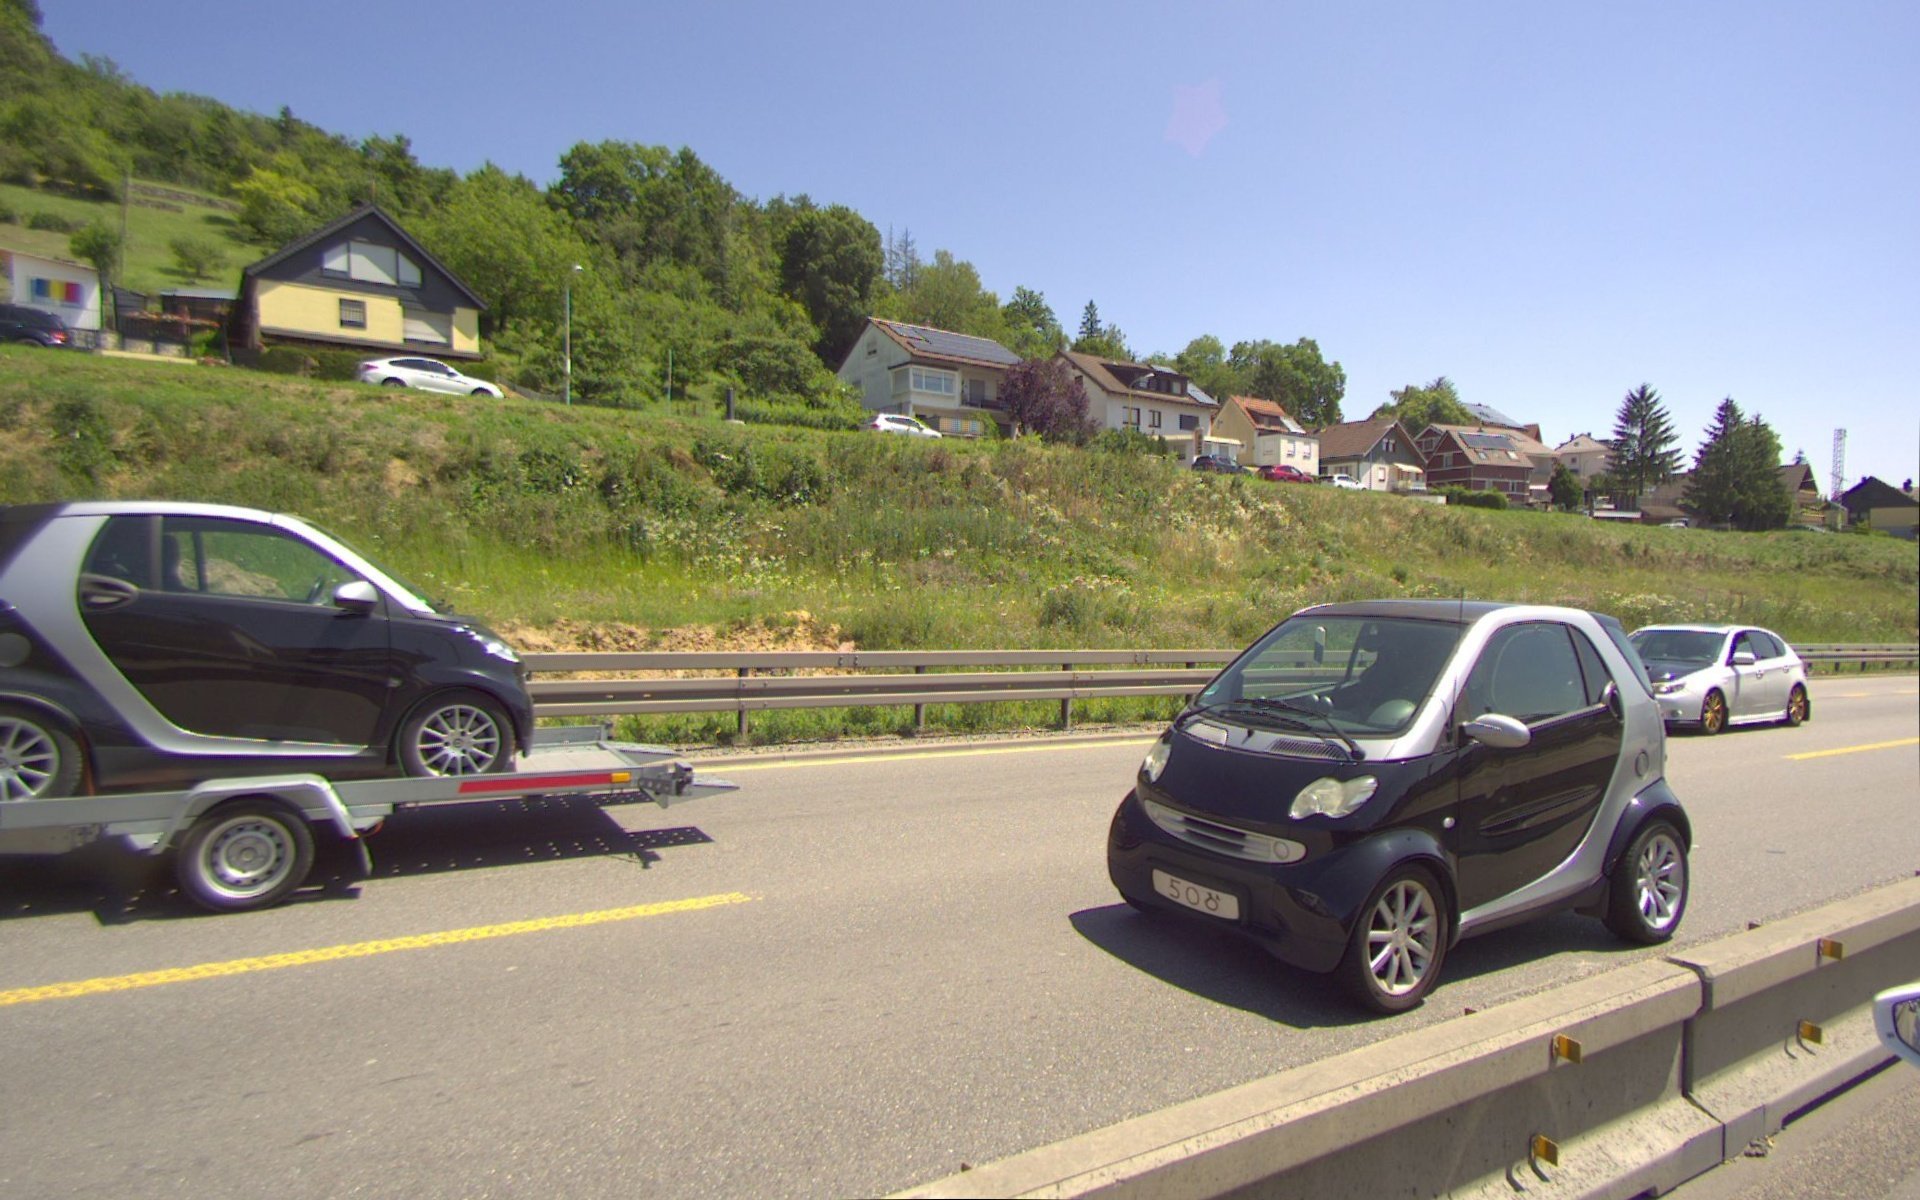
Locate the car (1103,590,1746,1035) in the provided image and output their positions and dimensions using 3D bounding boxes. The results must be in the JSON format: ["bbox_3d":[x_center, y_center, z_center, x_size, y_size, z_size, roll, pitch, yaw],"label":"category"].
[{"bbox_3d":[2.241,0.754,4.794,2.772,1.525,1.476,1,0,-31],"label":"car"}]

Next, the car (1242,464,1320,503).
[{"bbox_3d":[20.824,-7.503,65.095,4.752,1.817,2.333,3,-1,-34],"label":"car"}]

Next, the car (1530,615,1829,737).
[{"bbox_3d":[10.299,0.987,14.298,4.502,1.450,1.800,1,0,-31],"label":"car"}]

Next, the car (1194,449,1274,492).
[{"bbox_3d":[16.496,-7.734,60.396,4.720,1.817,2.162,3,-1,-37],"label":"car"}]

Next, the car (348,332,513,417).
[{"bbox_3d":[-18.858,-7.966,35.889,4.966,1.817,1.979,3,-1,-37],"label":"car"}]

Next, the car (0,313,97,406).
[{"bbox_3d":[-28.305,-7.142,28.954,4.925,2.035,2.057,3,-1,-36],"label":"car"}]

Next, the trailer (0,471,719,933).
[{"bbox_3d":[-4.086,0.428,5.317,5.081,1.919,2.091,1,0,-31],"label":"trailer"}]

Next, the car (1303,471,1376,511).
[{"bbox_3d":[25.941,-7.429,68.664,4.768,2.068,2.334,3,-1,-34],"label":"car"}]

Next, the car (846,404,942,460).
[{"bbox_3d":[-3.046,-7.709,46.470,3.964,1.817,1.979,3,-1,-37],"label":"car"}]
